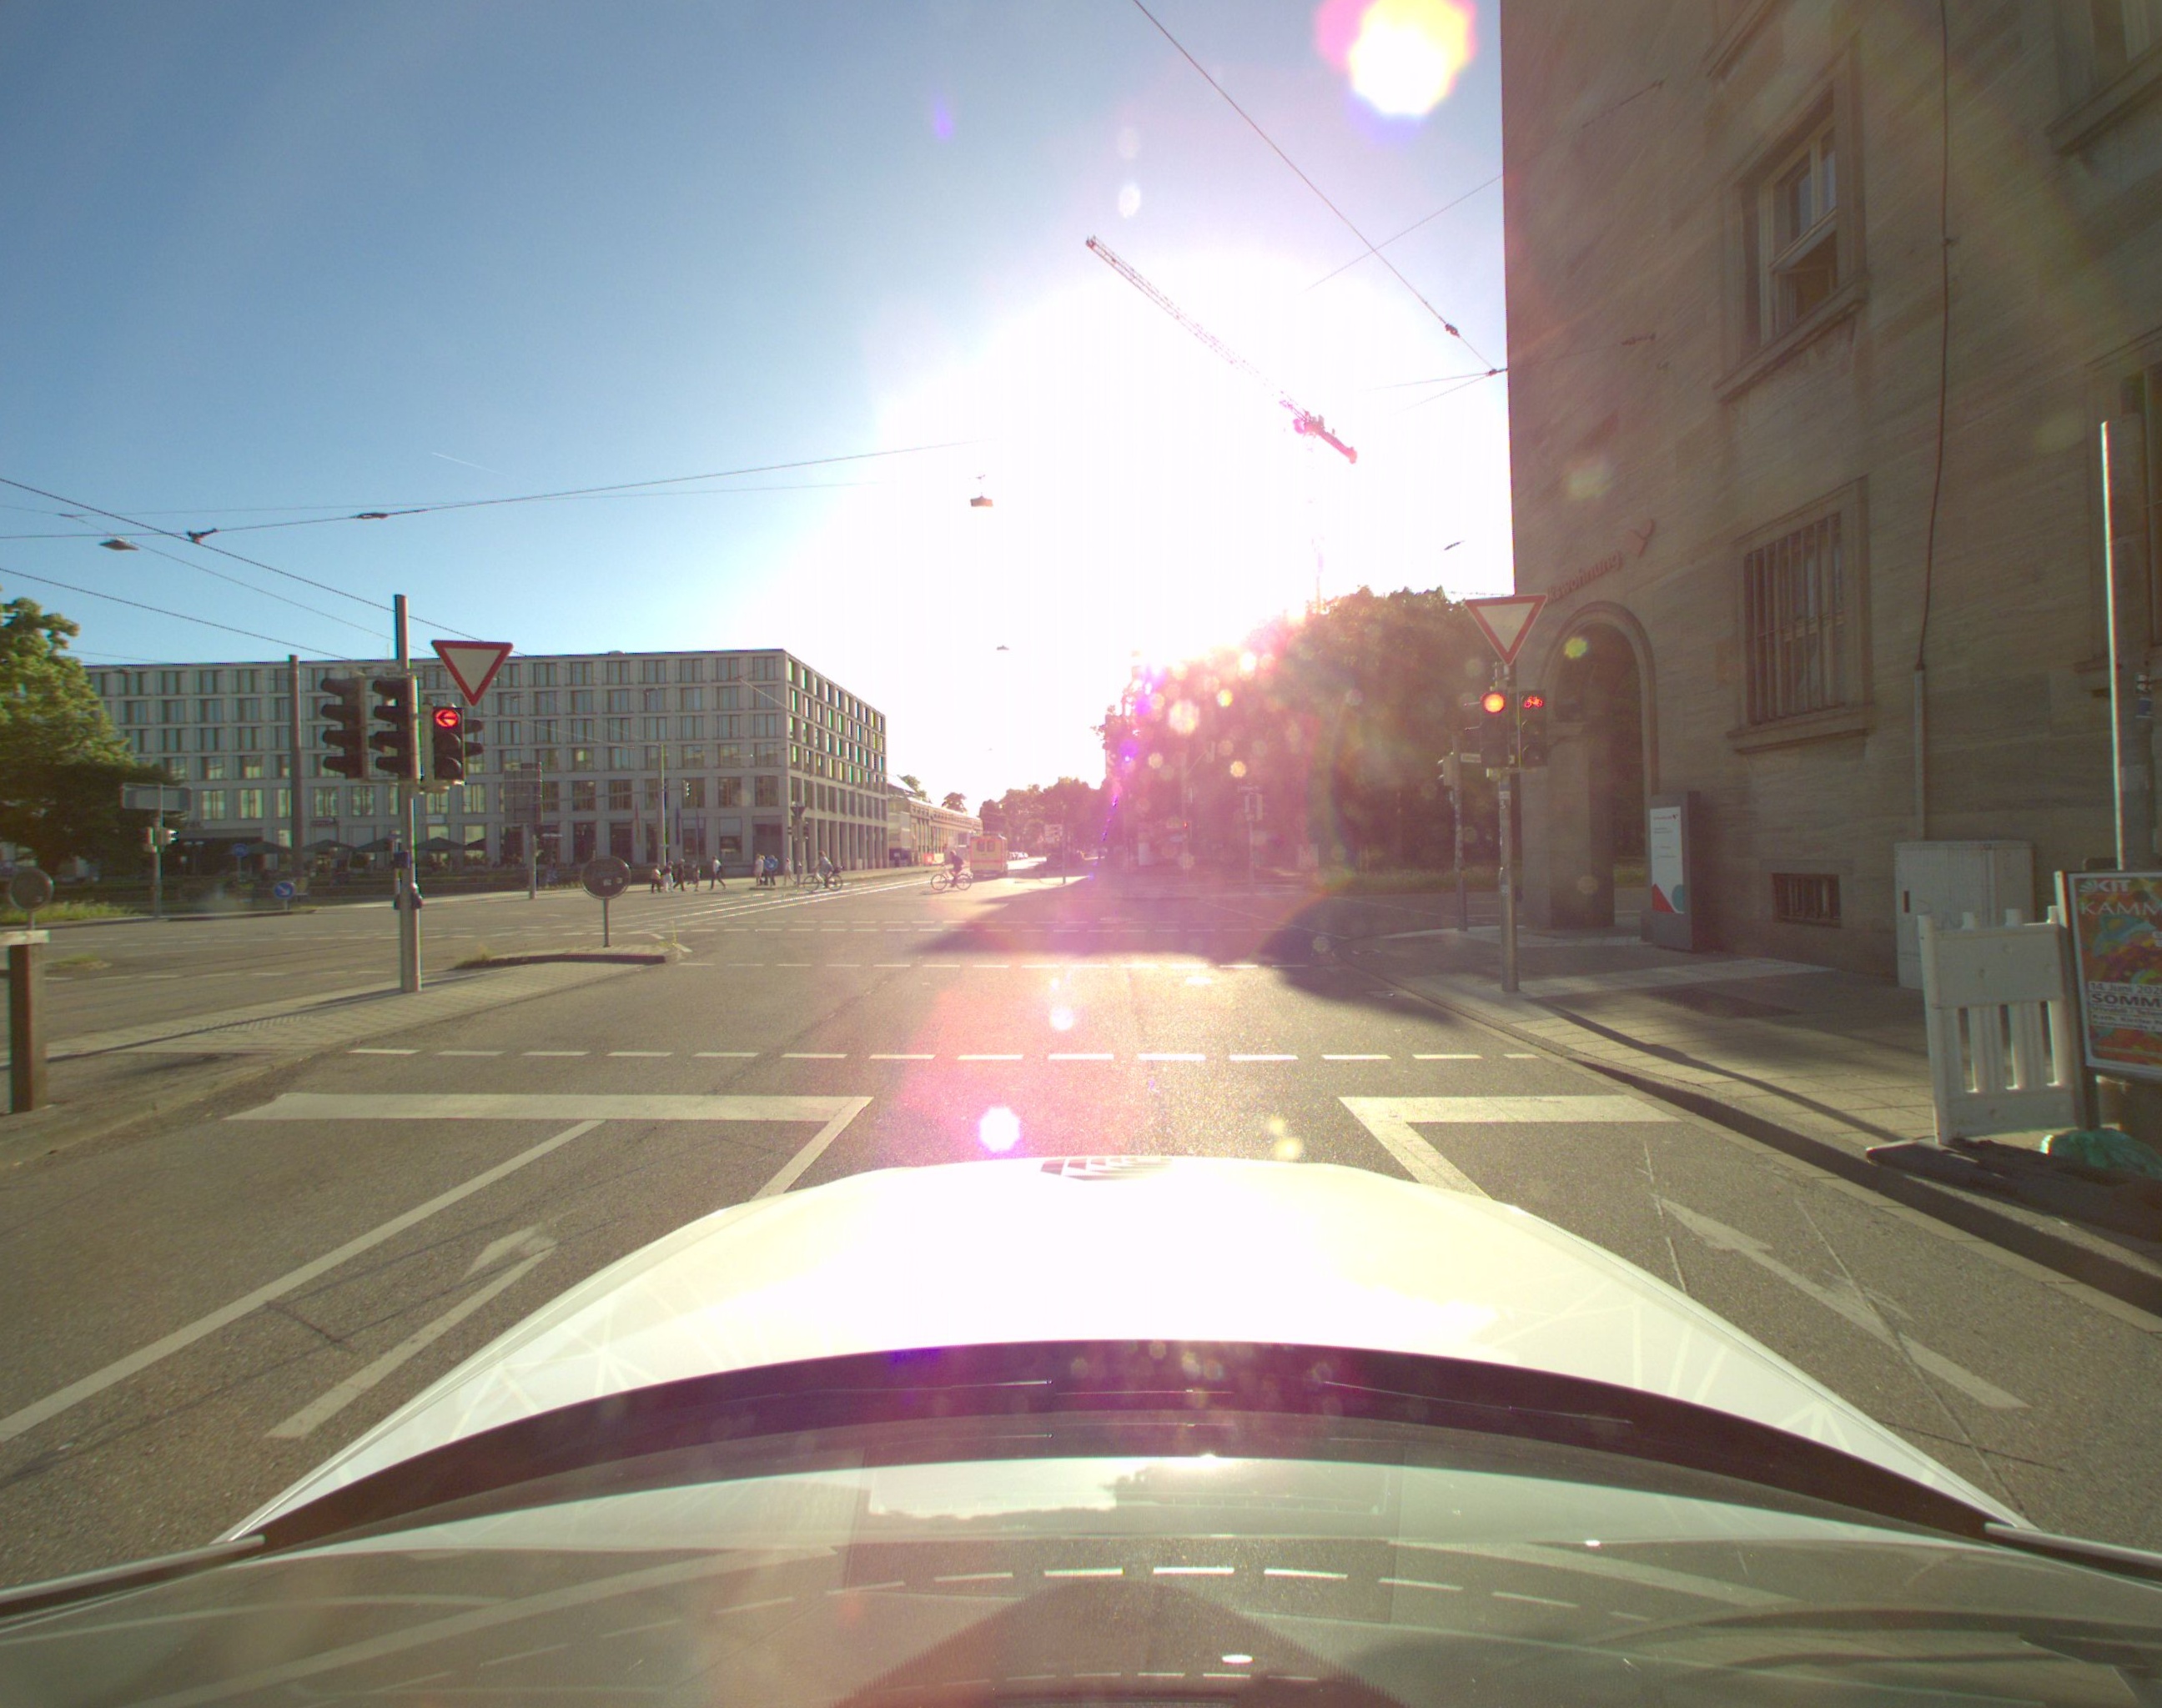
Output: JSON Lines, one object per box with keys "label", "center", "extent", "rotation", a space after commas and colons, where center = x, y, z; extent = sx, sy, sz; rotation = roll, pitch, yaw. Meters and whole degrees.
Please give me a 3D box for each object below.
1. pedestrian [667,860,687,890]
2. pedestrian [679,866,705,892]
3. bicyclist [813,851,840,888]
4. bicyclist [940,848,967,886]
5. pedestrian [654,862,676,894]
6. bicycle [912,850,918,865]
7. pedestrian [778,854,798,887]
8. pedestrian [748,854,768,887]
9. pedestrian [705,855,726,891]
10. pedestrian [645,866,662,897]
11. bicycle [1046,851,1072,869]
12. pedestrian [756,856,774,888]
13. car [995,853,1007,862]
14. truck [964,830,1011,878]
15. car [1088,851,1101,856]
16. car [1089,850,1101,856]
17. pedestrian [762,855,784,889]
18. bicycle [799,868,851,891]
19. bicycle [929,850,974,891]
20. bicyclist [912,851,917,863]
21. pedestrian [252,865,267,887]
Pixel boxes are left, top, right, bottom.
{"label": "pedestrian", "center": [-22.563, 1.195, 45.495], "extent": [0.690, 1.644, 0.623], "rotation": [-2, 0, 8]}
{"label": "pedestrian", "center": [-20.297, 1.307, 42.468], "extent": [0.993, 1.317, 0.765], "rotation": [-2, 0, -7]}
{"label": "bicyclist", "center": [-11.209, 0.683, 35.907], "extent": [0.973, 1.560, 0.574], "rotation": [-2, 0, -5]}
{"label": "bicyclist", "center": [-5.589, 0.571, 35.776], "extent": [1.073, 1.641, 0.596], "rotation": [-2, 0, -7]}
{"label": "pedestrian", "center": [-21.914, 1.274, 42.935], "extent": [0.790, 1.644, 0.621], "rotation": [-2, 0, -3]}
{"label": "bicycle", "center": [-26.702, 0.558, 131.028], "extent": [0.569, 2.296, 1.422], "rotation": [-2, 0, 0]}
{"label": "pedestrian", "center": [-16.293, 0.938, 45.315], "extent": [0.865, 1.803, 0.533], "rotation": [-2, 0, 7]}
{"label": "pedestrian", "center": [-17.889, 0.897, 45.112], "extent": [0.735, 1.803, 0.717], "rotation": [-2, 0, 7]}
{"label": "pedestrian", "center": [-19.619, 1.025, 43.713], "extent": [0.797, 1.918, 0.638], "rotation": [-2, 0, 7]}
{"label": "pedestrian", "center": [-23.178, 1.475, 44.139], "extent": [0.699, 1.644, 0.615], "rotation": [-1, 0, -33]}
{"label": "bicycle", "center": [-2.156, 0.627, 81.577], "extent": [2.538, 1.744, 1.038], "rotation": [0, -1, 1]}
{"label": "pedestrian", "center": [-17.947, 1.019, 46.261], "extent": [0.735, 1.803, 0.533], "rotation": [-2, 0, 7]}
{"label": "car", "center": [-15.406, 0.705, 157.084], "extent": [1.888, 1.607, 4.499], "rotation": [-2, 0, 0]}
{"label": "truck", "center": [-6.264, -0.015, 55.408], "extent": [2.711, 3.016, 6.481], "rotation": [-1, 0, -3]}
{"label": "car", "center": [3.457, -0.045, 211.362], "extent": [3.207, 1.263, 1.373], "rotation": [0, -1, 0]}
{"label": "car", "center": [3.721, -0.165, 213.678], "extent": [3.207, 1.588, 1.445], "rotation": [0, -1, -3]}
{"label": "pedestrian", "center": [-16.864, 0.977, 44.554], "extent": [0.865, 1.803, 0.665], "rotation": [-2, 0, 7]}
{"label": "bicycle", "center": [-11.260, 1.133, 35.893], "extent": [2.061, 0.933, 0.574], "rotation": [-2, 0, -5]}
{"label": "bicycle", "center": [-5.667, 0.731, 35.766], "extent": [1.895, 1.735, 0.595], "rotation": [-2, 0, -7]}
{"label": "bicyclist", "center": [-26.708, 0.463, 130.948], "extent": [0.569, 2.024, 0.762], "rotation": [-2, 0, 0]}
{"label": "pedestrian", "center": [-62.170, 1.672, 61.665], "extent": [0.538, 1.669, 0.561], "rotation": [0, -1, -2]}
